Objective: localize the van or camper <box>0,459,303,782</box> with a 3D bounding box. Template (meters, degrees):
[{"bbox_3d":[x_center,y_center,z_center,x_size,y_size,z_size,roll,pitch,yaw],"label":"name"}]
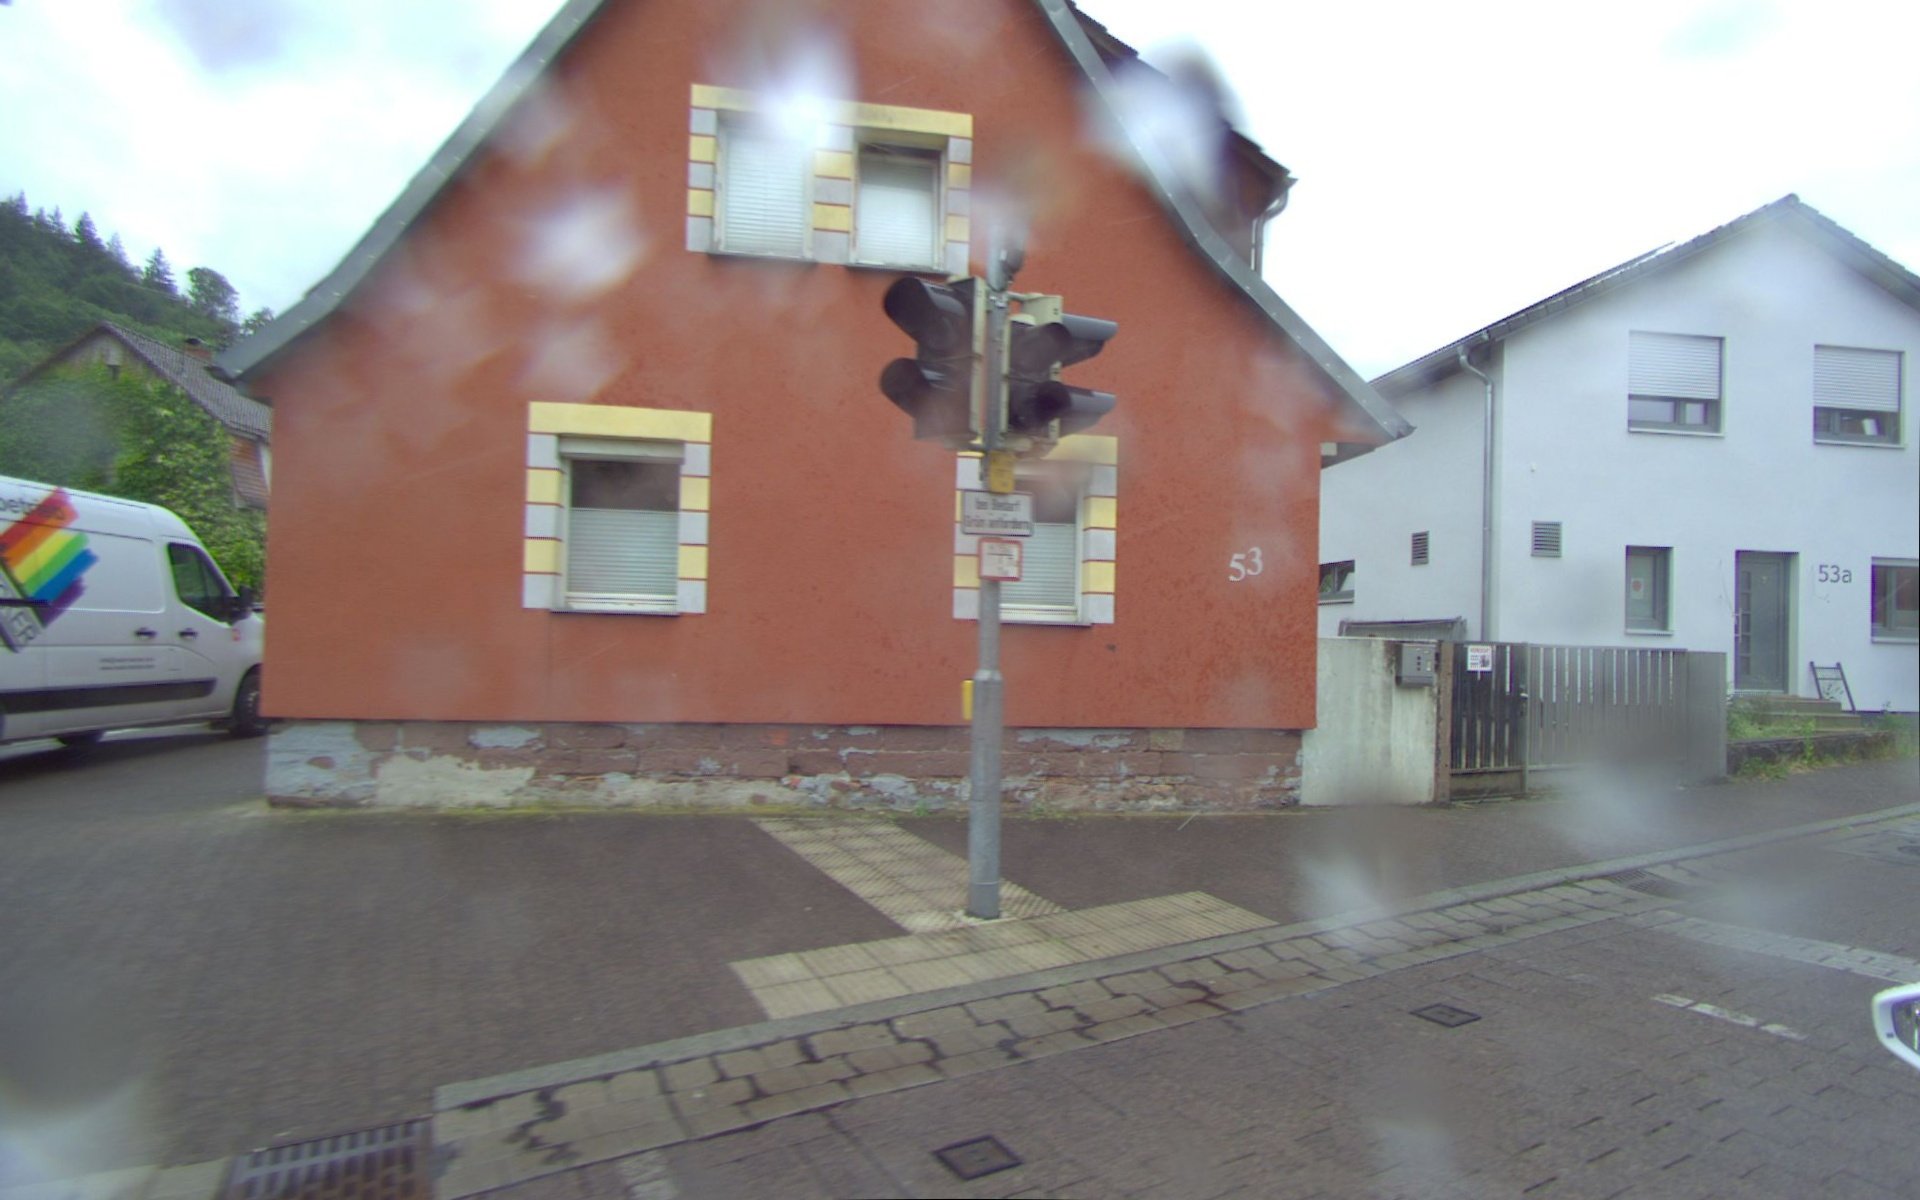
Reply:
[{"bbox_3d":[-8.511,0.190,8.935,2.169,2.468,5.157,0,-1,-4],"label":"van or camper"}]

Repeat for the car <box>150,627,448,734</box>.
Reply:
[{"bbox_3d":[-9.173,1.040,14.407,1.802,1.298,4.002,0,-1,-4],"label":"car"}]

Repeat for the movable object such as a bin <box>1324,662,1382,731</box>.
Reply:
[{"bbox_3d":[6.455,1.585,16.526,0.663,1.069,0.613,1,0,-7],"label":"movable object such as a bin"}]

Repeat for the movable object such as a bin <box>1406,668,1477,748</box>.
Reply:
[{"bbox_3d":[6.879,1.529,14.367,0.663,1.069,0.613,1,0,-7],"label":"movable object such as a bin"}]
